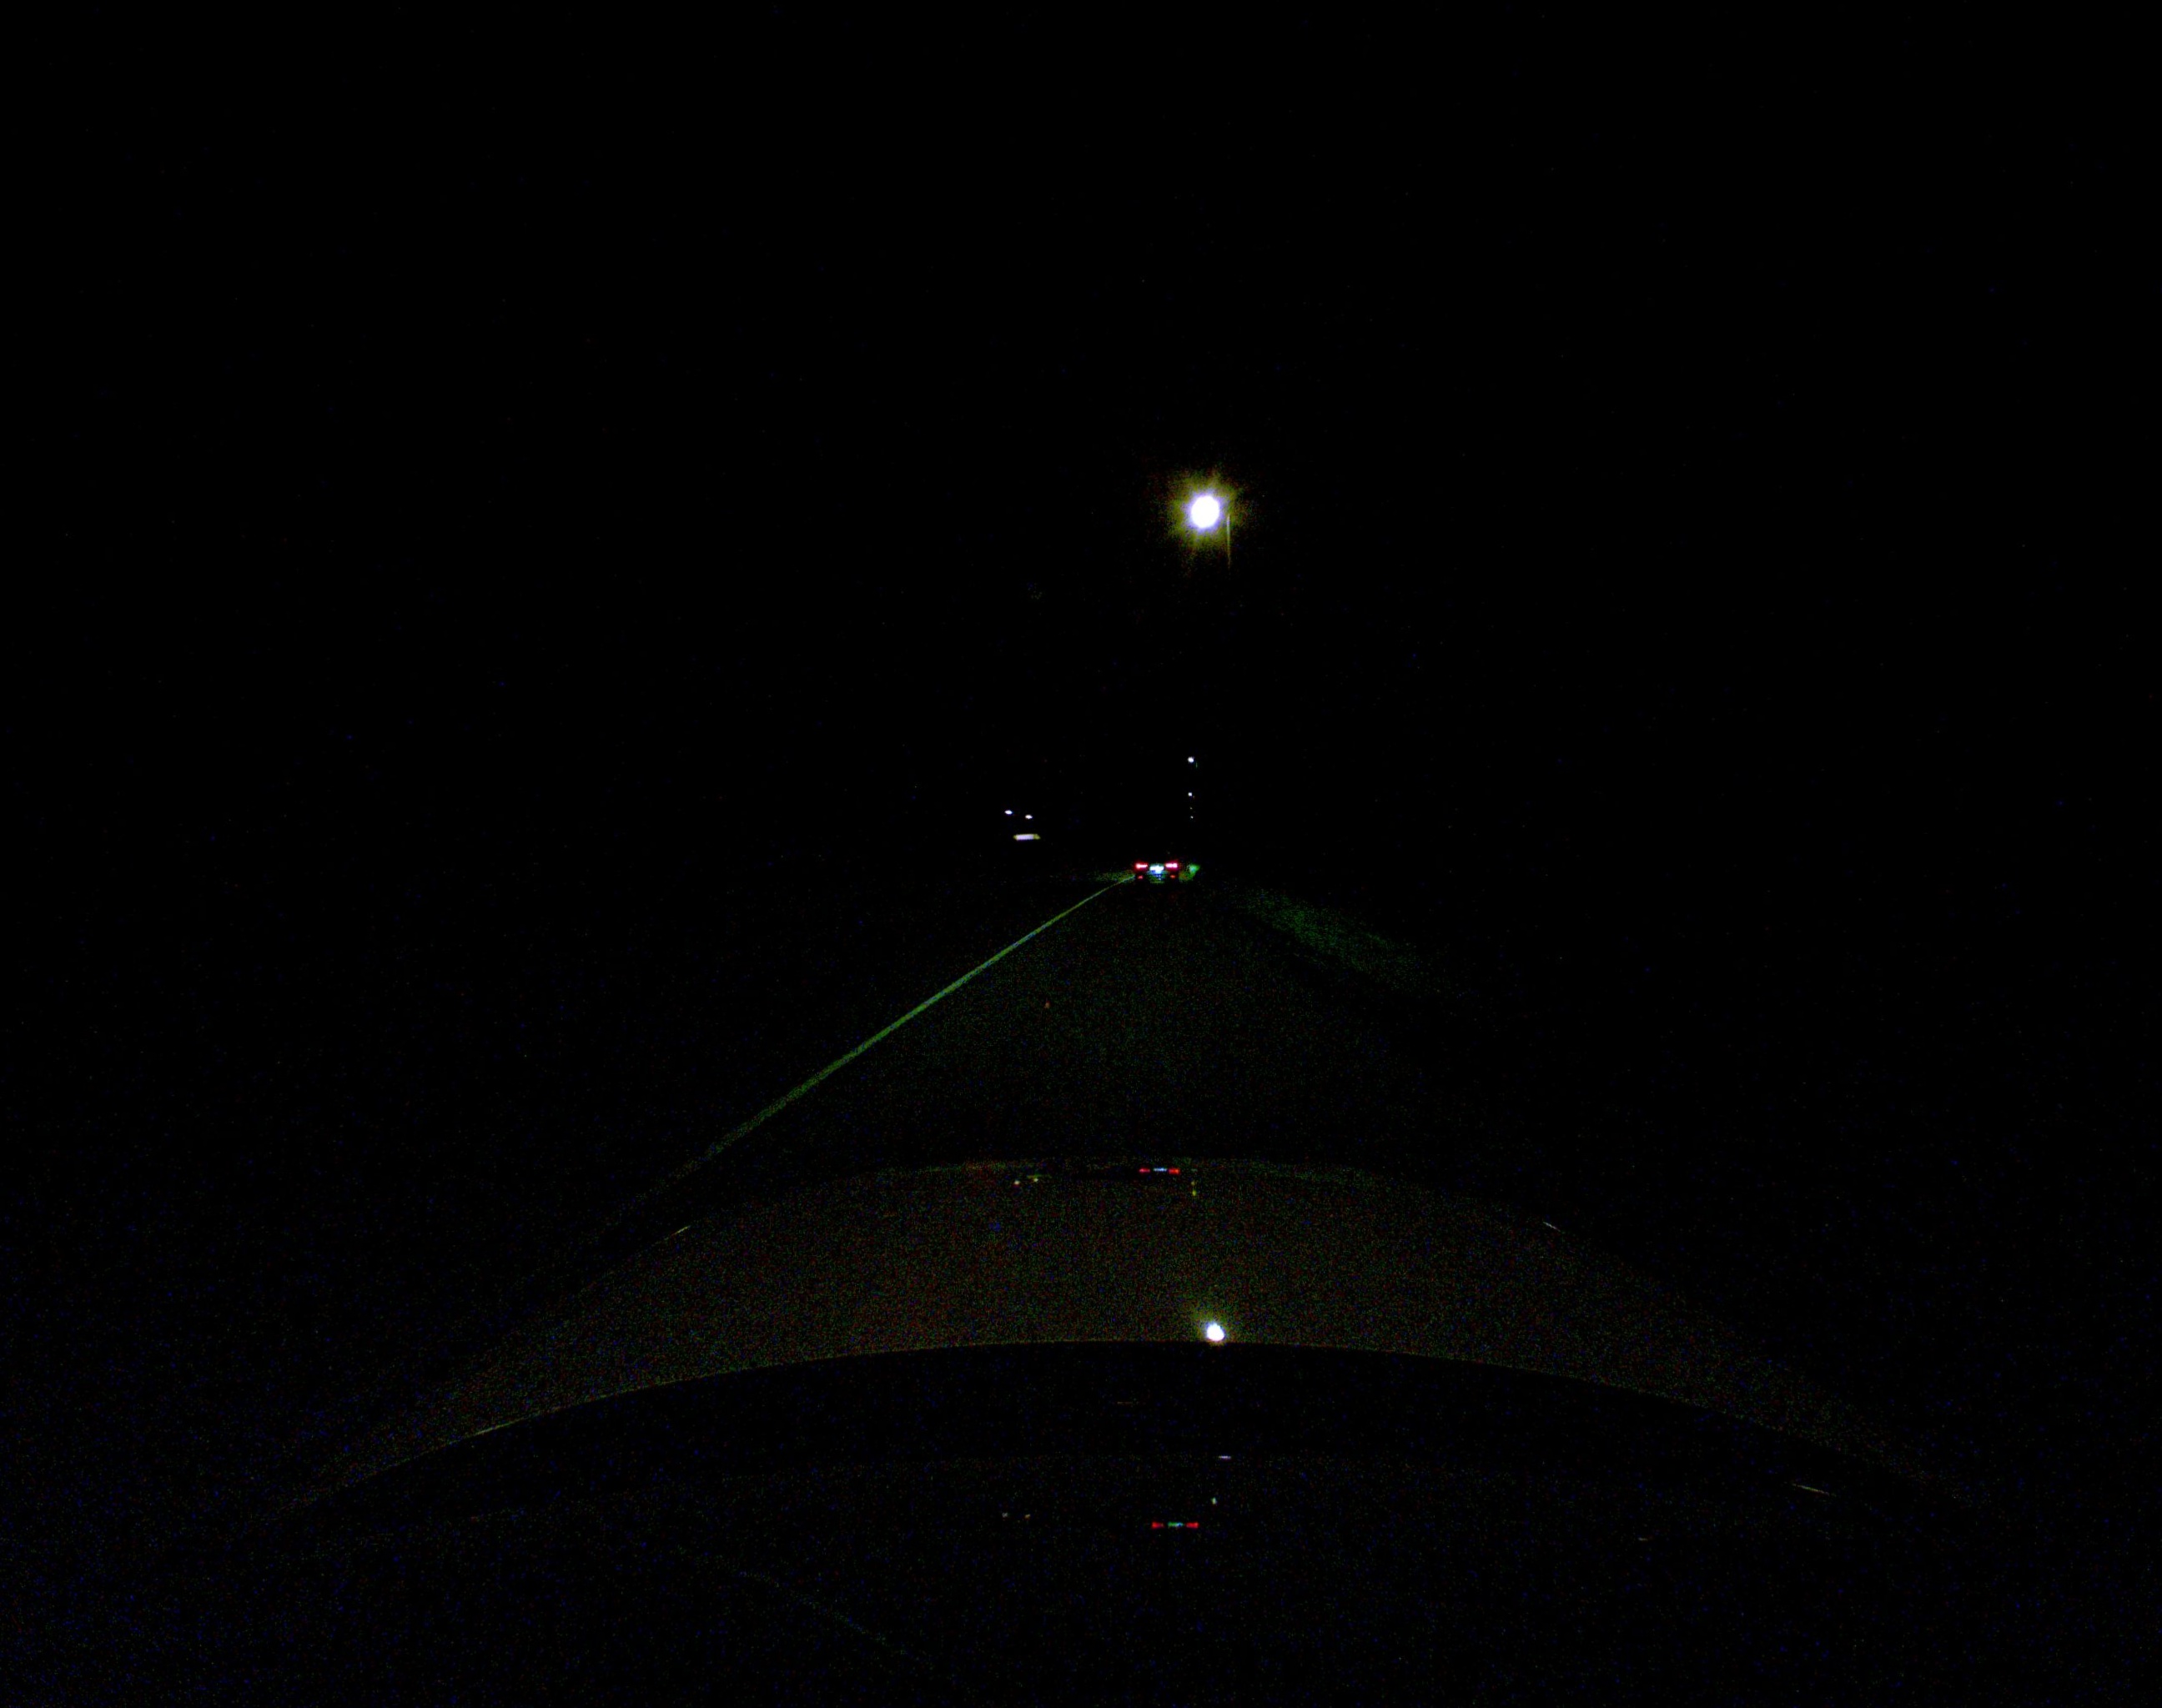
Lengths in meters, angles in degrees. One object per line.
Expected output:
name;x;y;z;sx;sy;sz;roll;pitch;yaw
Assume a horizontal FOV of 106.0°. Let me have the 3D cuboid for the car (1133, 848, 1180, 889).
car;3.257;0.576;34.560;1.805;1.573;3.952;-1;0;8
